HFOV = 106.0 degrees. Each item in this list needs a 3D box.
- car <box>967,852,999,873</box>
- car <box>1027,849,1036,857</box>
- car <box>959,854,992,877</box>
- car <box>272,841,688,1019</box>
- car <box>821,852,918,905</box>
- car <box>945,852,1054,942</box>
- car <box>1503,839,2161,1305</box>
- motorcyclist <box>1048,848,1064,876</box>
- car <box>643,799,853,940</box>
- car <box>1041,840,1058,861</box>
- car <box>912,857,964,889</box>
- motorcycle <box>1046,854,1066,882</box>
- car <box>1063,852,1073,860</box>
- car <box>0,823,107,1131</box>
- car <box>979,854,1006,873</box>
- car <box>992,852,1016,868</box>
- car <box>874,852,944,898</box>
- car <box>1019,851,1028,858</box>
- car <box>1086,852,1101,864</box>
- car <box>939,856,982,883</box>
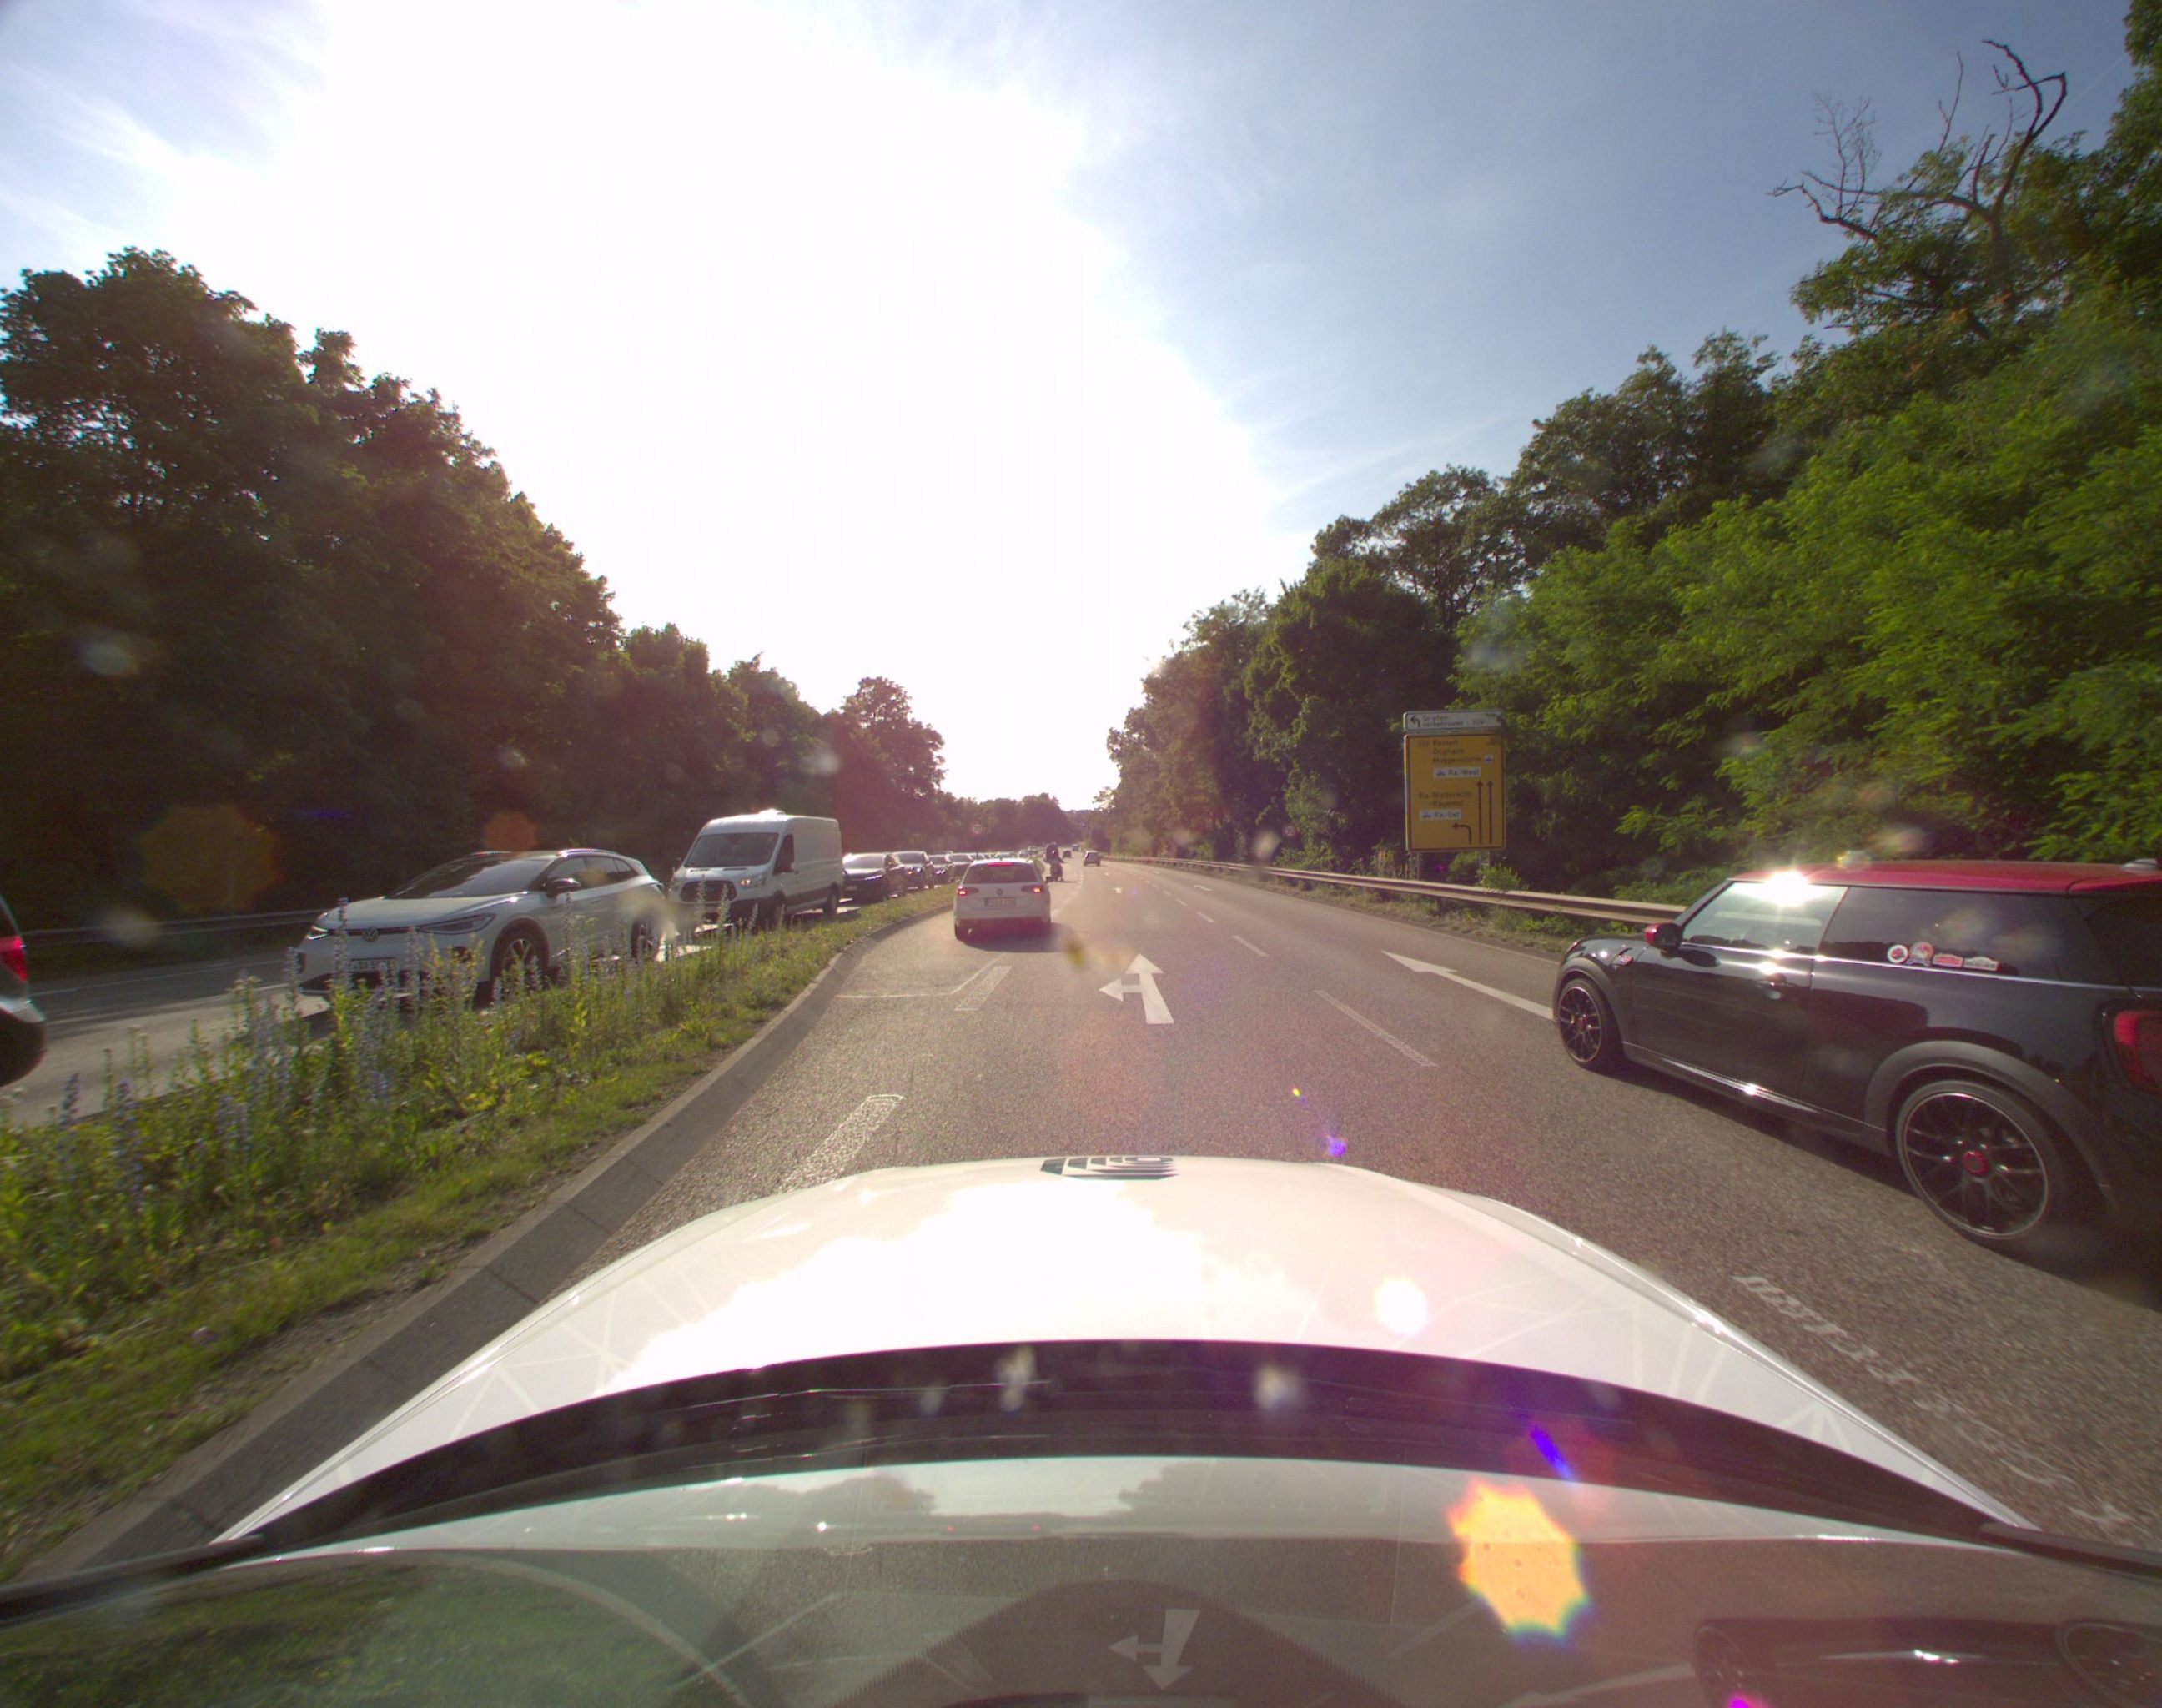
[{"bbox_3d":[-7.288,0.628,61.124,1.761,1.423,5.192,-2,1,0],"label":"car"},{"bbox_3d":[-11.424,-0.312,188.633,2.071,1.763,4.751,-3,1,-3],"label":"car"},{"bbox_3d":[-7.130,0.775,55.463,1.701,1.423,4.210,-2,0,0],"label":"car"},{"bbox_3d":[-6.872,0.706,10.147,1.695,1.631,4.744,-2,0,-2],"label":"car"},{"bbox_3d":[-6.691,0.711,26.377,1.755,1.456,5.184,-2,1,0],"label":"car"},{"bbox_3d":[-1.501,0.744,16.609,1.865,1.521,4.830,1,0,-2],"label":"car"},{"bbox_3d":[4.272,0.678,4.529,1.814,1.467,3.871,0,0,-1],"label":"car"},{"bbox_3d":[-1.458,0.453,47.711,0.880,1.616,1.291,0,0,1],"label":"motorcyclist"},{"bbox_3d":[-6.997,0.254,18.089,2.068,2.533,6.162,-2,0,0],"label":"car"},{"bbox_3d":[-4.780,-0.557,123.312,2.203,2.888,7.009,-2,0,0],"label":"car"},{"bbox_3d":[-7.153,0.926,41.183,1.766,1.379,4.842,-2,1,0],"label":"car"},{"bbox_3d":[-1.465,0.805,47.808,0.905,1.453,2.690,-4,1,2],"label":"motorcycle"},{"bbox_3d":[-2.613,0.442,163.519,1.741,1.537,3.920,0,0,-5],"label":"car"},{"bbox_3d":[-6.532,0.693,2.555,1.695,1.631,4.368,-2,0,-2],"label":"car"},{"bbox_3d":[-7.290,0.787,67.376,1.761,1.417,4.433,-2,0,0],"label":"car"},{"bbox_3d":[-7.477,0.568,79.628,1.862,1.417,4.415,-2,0,0],"label":"car"},{"bbox_3d":[-6.906,0.786,33.172,1.766,1.669,4.799,-2,0,0],"label":"car"},{"bbox_3d":[-11.792,0.185,167.734,1.784,1.411,4.222,0,0,-3],"label":"car"},{"bbox_3d":[1.418,0.470,93.686,1.755,1.380,3.972,0,0,0],"label":"car"},{"bbox_3d":[-7.116,0.864,48.464,1.766,1.423,5.191,-2,1,0],"label":"car"}]
